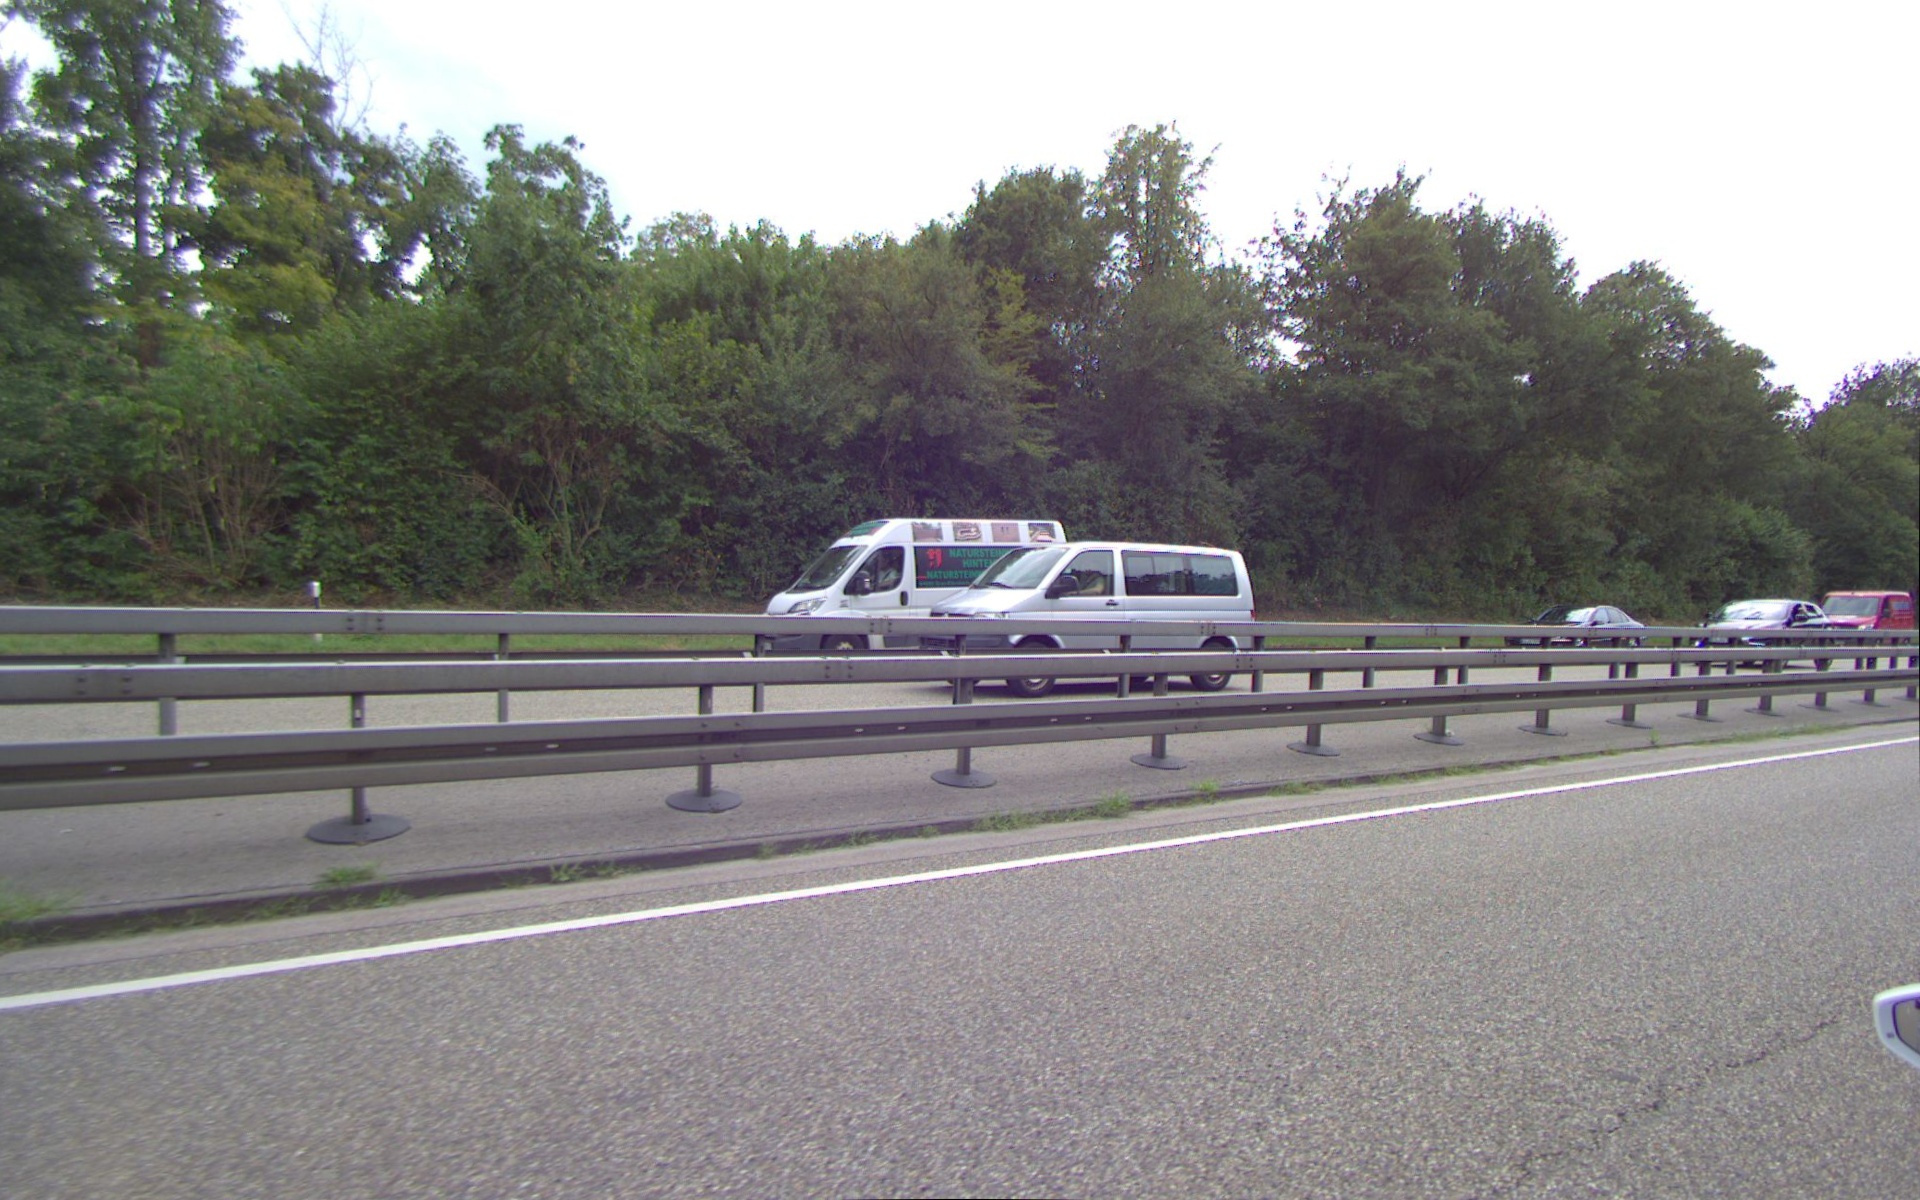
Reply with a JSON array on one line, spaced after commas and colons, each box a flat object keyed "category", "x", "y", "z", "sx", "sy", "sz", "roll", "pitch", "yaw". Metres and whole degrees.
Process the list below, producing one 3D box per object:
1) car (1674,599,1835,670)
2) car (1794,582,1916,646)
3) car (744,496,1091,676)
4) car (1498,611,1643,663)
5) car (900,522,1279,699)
[{"category": "car", "x": 19.075, "y": 0.816, "z": 24.085, "sx": 3.969, "sy": 1.584, "sz": 1.772, "roll": 2, "pitch": -1, "yaw": -31}, {"category": "car", "x": 34.002, "y": 0.559, "z": 38.111, "sx": 5.316, "sy": 2.286, "sz": 2.055, "roll": 2, "pitch": -1, "yaw": -32}, {"category": "car", "x": -0.658, "y": -0.144, "z": 17.175, "sx": 5.490, "sy": 2.645, "sz": 2.300, "roll": 2, "pitch": 0, "yaw": -31}, {"category": "car", "x": 16.738, "y": 0.999, "z": 27.505, "sx": 4.061, "sy": 1.313, "sz": 1.765, "roll": 2, "pitch": -1, "yaw": -32}, {"category": "car", "x": 1.842, "y": 0.180, "z": 13.503, "sx": 5.000, "sy": 2.009, "sz": 1.812, "roll": 2, "pitch": -1, "yaw": -31}]
